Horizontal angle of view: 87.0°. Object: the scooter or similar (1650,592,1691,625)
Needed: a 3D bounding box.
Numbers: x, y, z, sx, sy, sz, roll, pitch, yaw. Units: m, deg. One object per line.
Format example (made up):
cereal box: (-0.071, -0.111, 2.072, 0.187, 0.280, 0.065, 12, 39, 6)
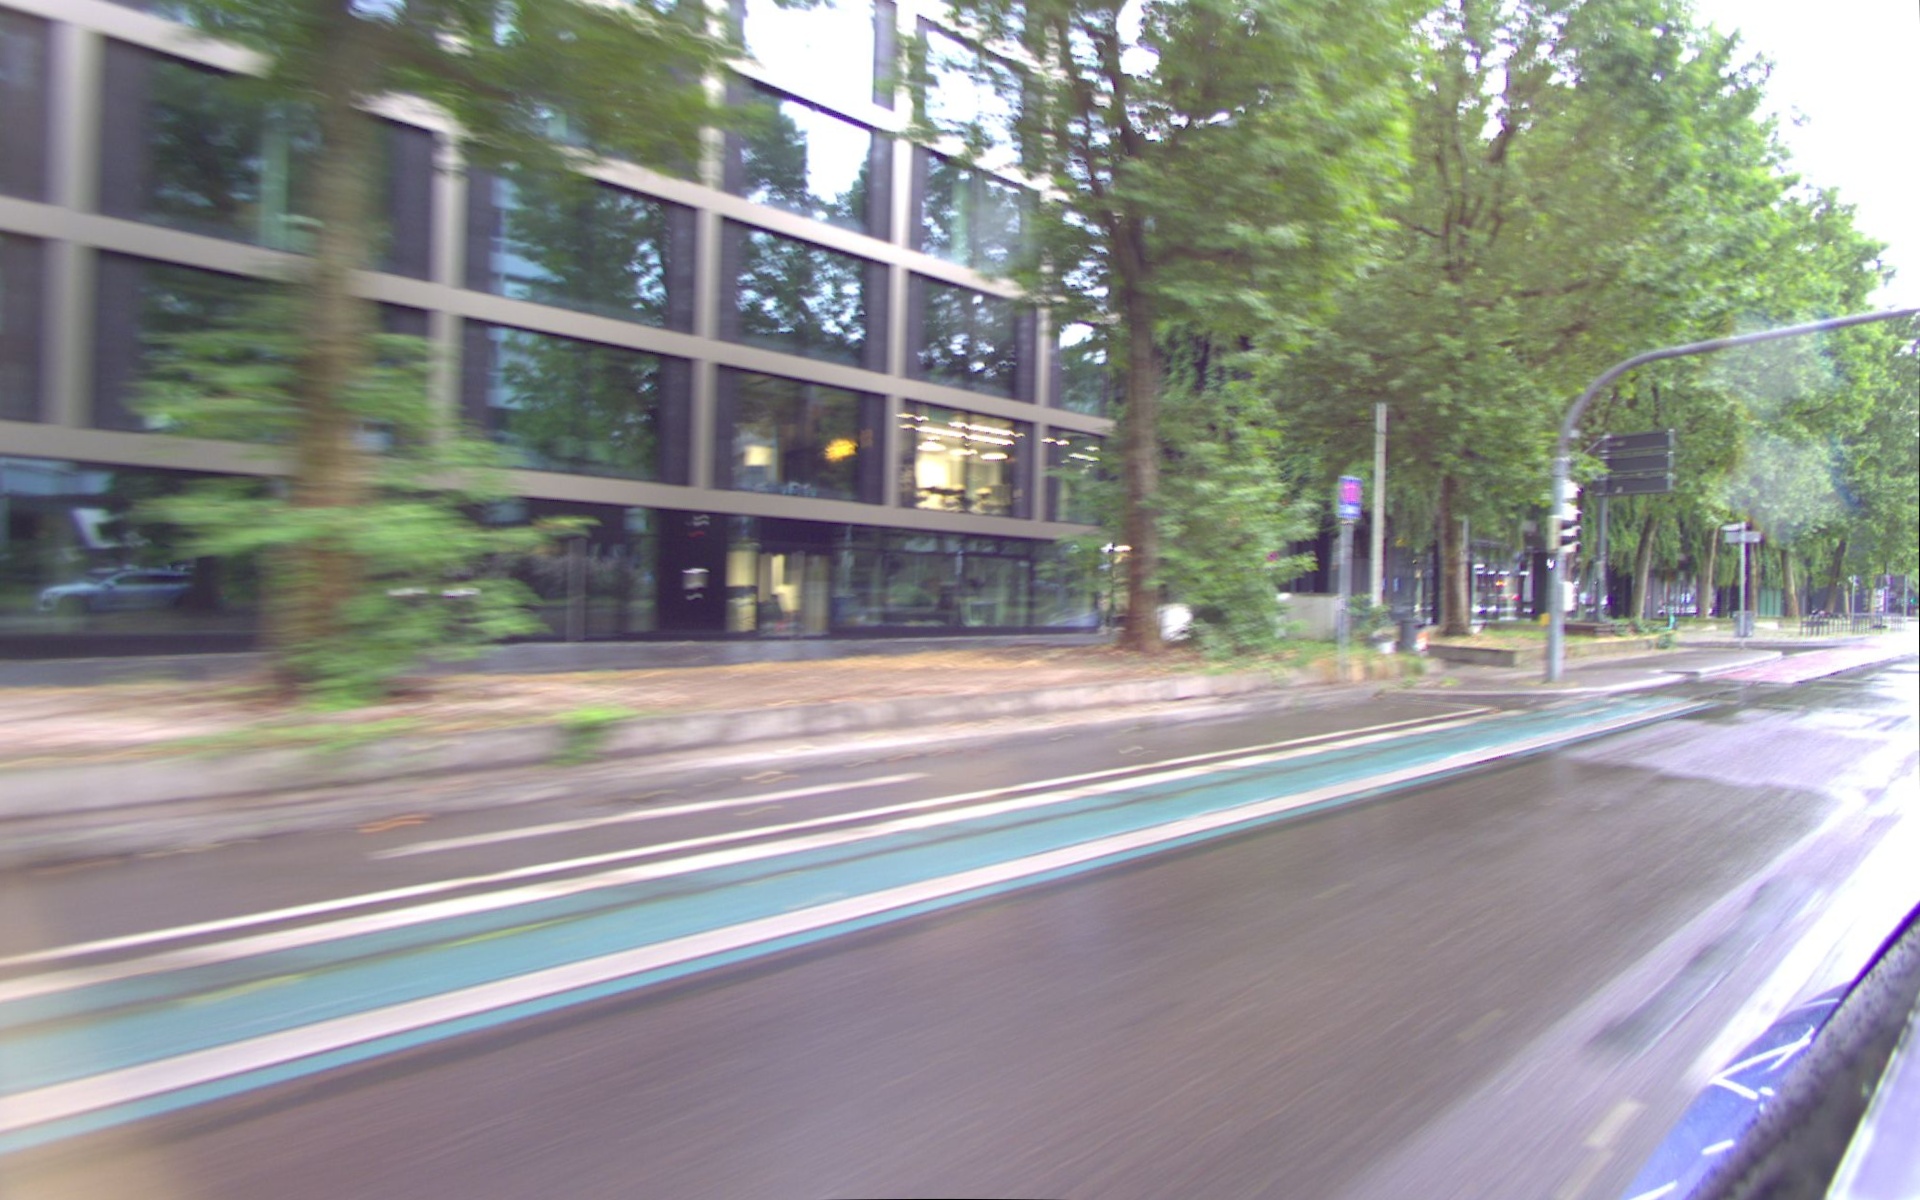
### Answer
scooter or similar: (28.162, 0.337, 40.140, 1.165, 1.298, 0.535, -1, -1, 9)
